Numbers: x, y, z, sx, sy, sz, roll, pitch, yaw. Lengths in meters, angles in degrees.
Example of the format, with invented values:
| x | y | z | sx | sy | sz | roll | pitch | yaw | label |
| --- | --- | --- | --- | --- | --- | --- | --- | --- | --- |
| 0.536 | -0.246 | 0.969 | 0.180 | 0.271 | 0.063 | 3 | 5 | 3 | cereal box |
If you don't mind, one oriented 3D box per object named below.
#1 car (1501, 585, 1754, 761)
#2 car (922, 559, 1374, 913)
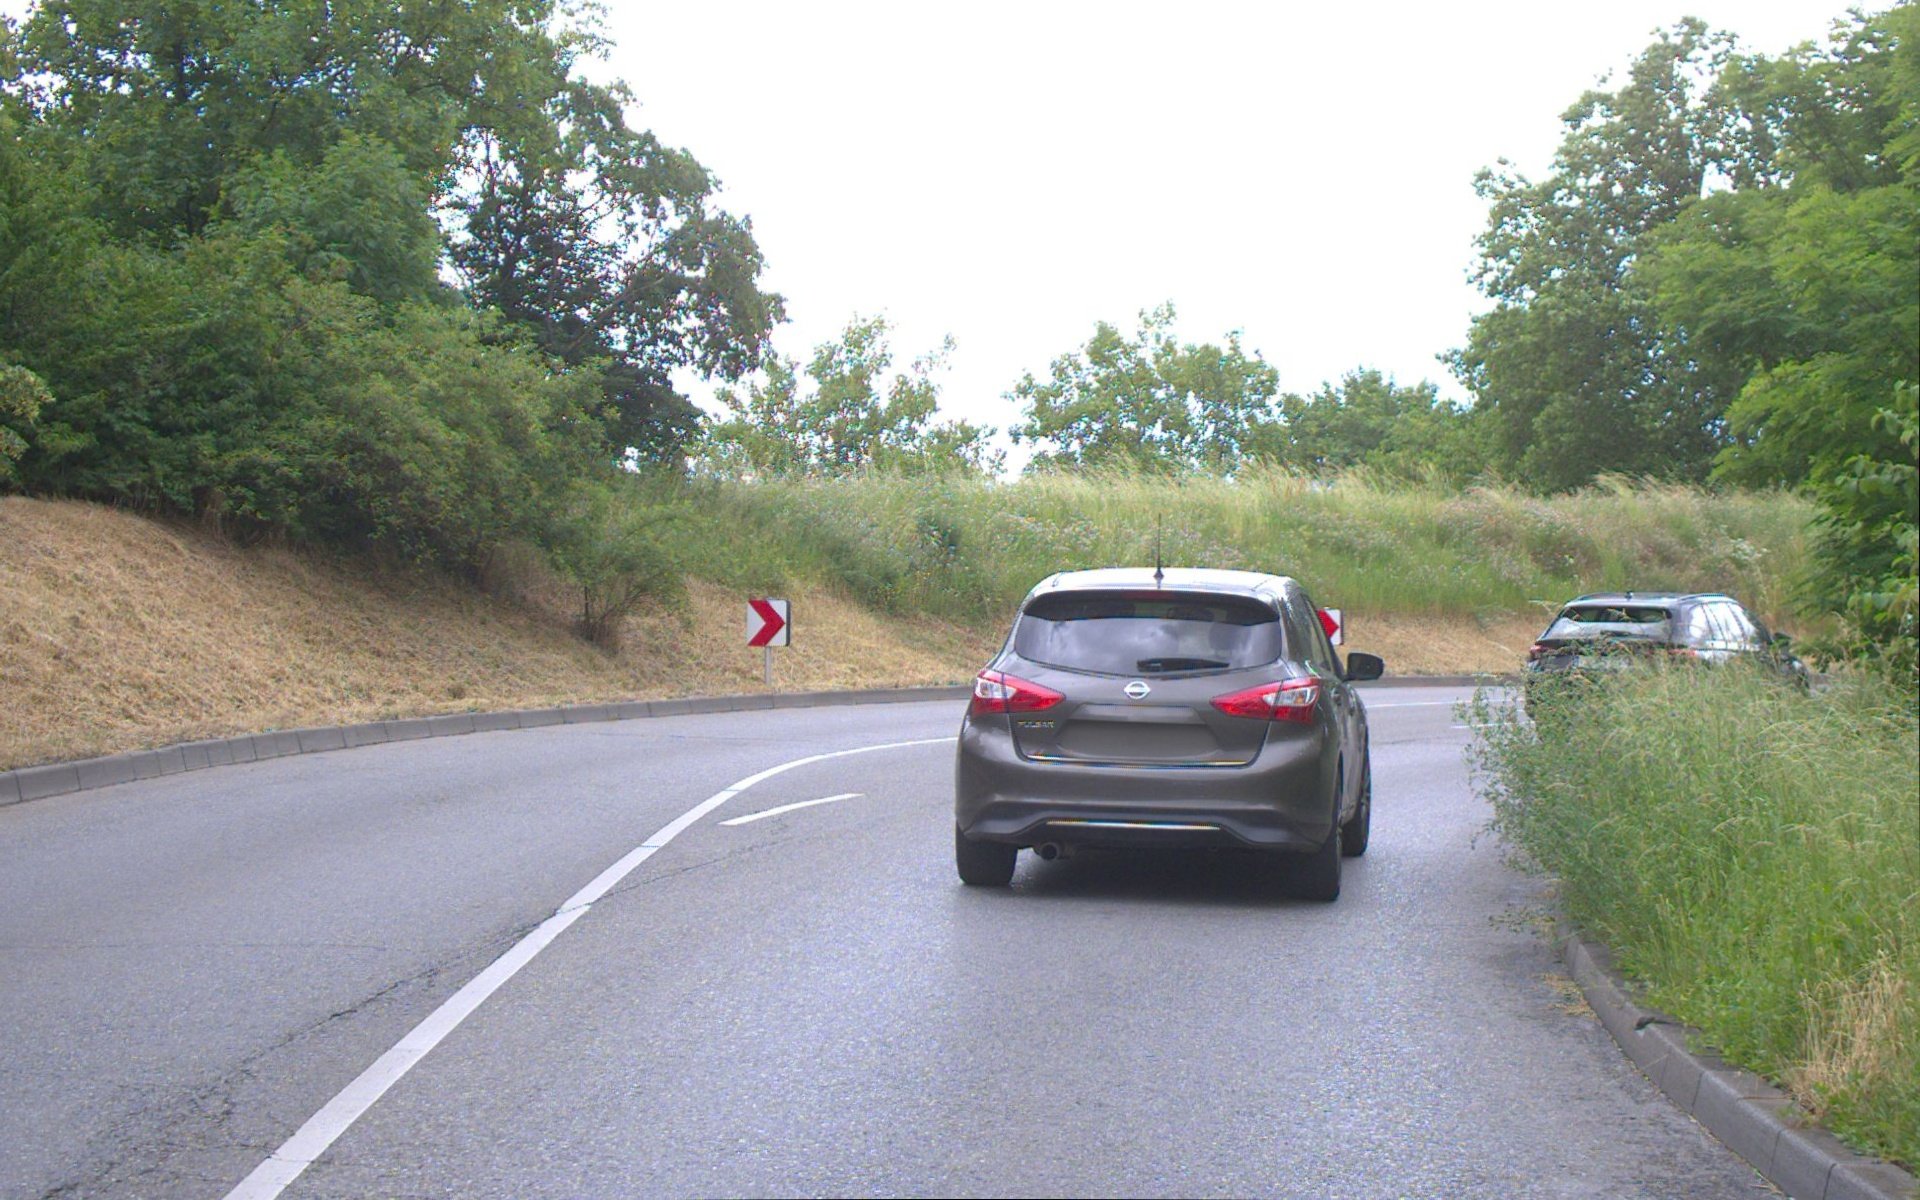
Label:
| x | y | z | sx | sy | sz | roll | pitch | yaw | label |
| --- | --- | --- | --- | --- | --- | --- | --- | --- | --- |
| 6.400 | 0.636 | 32.651 | 1.901 | 1.461 | 3.997 | 2 | 1 | 17 | car |
| 1.058 | 0.567 | 17.107 | 1.845 | 1.488 | 3.999 | 1 | 1 | 9 | car |
